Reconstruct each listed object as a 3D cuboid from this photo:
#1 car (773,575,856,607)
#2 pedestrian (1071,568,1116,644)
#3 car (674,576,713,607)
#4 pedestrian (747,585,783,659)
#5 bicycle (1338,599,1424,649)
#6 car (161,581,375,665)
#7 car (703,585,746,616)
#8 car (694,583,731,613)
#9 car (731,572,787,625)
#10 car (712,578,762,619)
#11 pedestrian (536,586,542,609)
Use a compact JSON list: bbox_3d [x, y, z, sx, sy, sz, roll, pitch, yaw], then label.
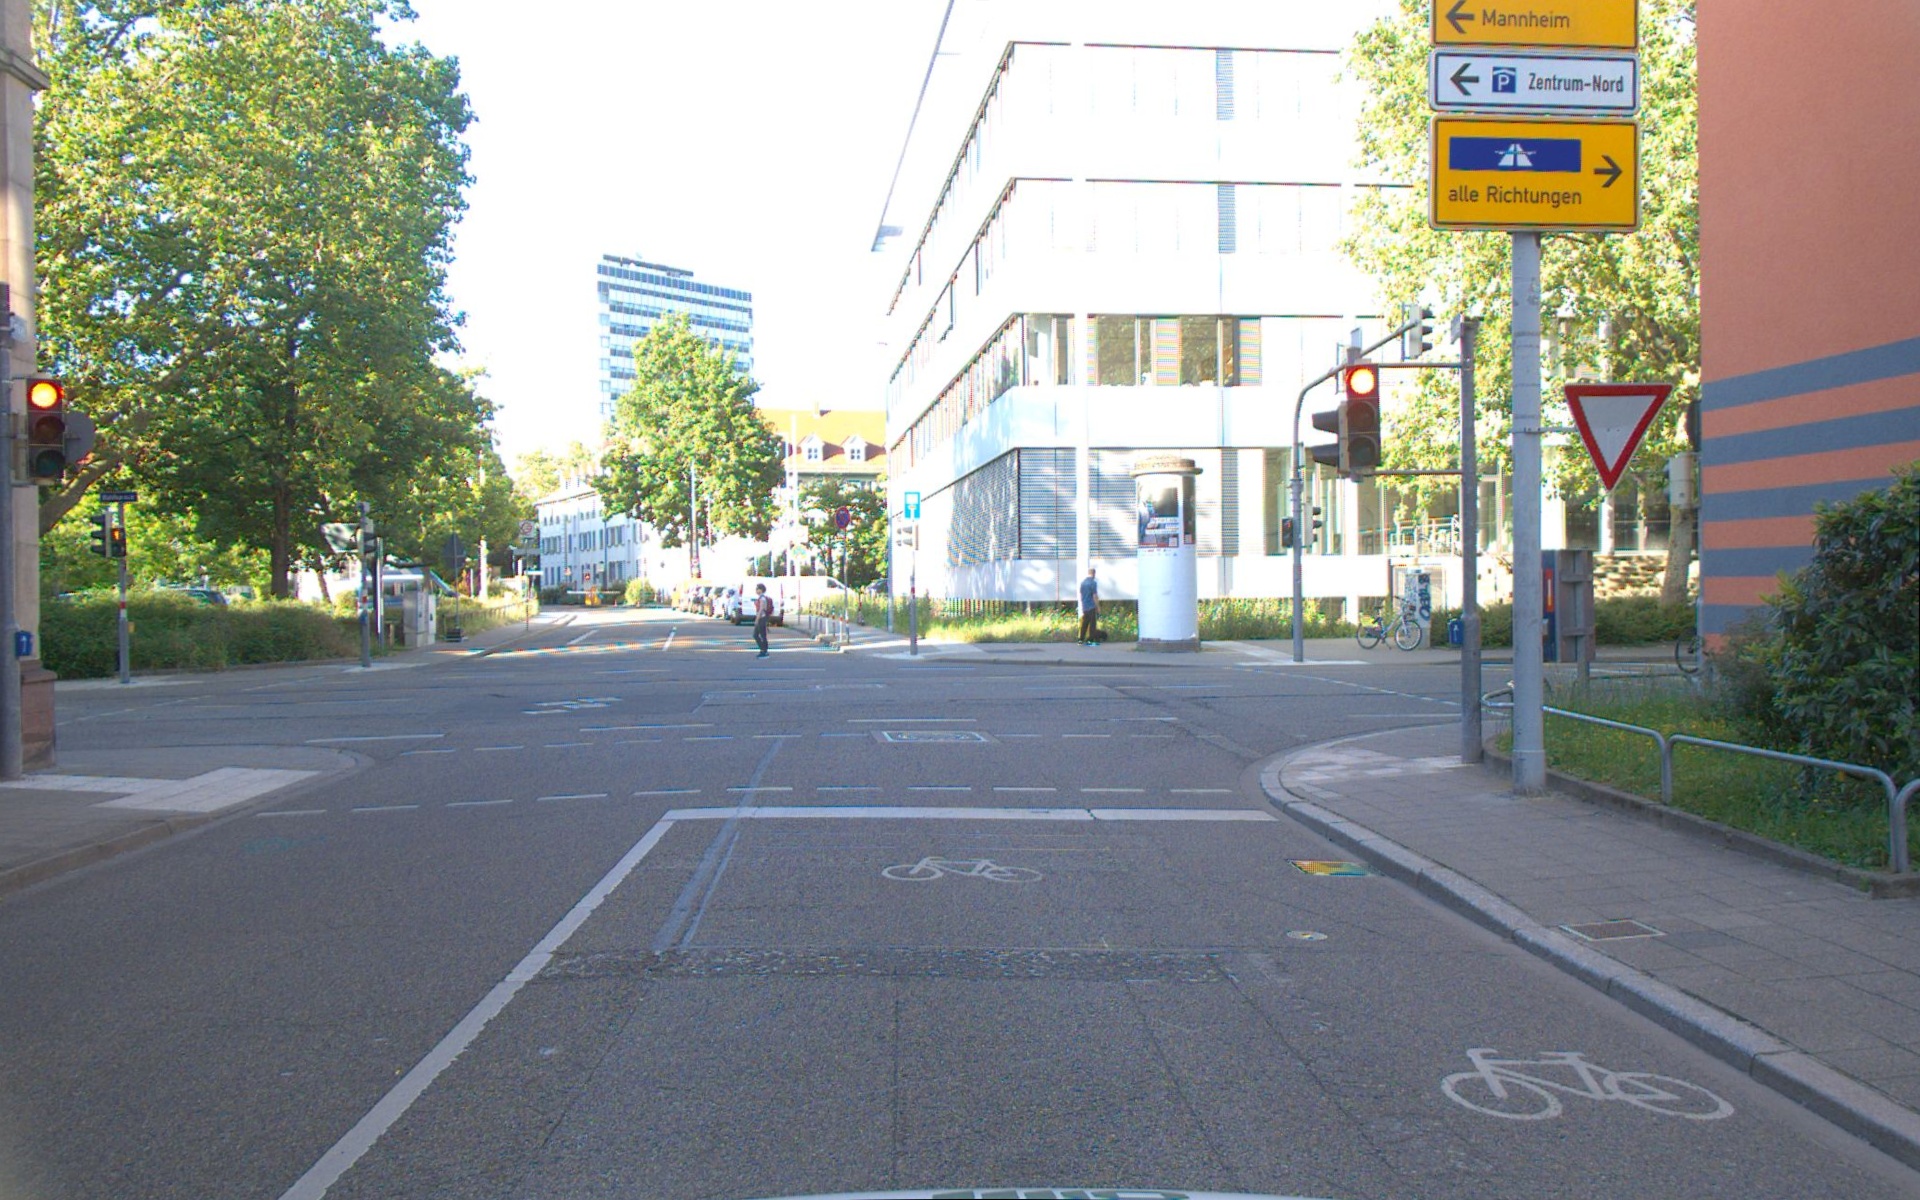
[{"bbox_3d":[-9.037,-0.560,102.716,4.804,1.905,1.990,1,-1,-17],"label":"car"},{"bbox_3d":[3.142,0.143,38.921,0.798,1.766,0.650,-1,0,45],"label":"pedestrian"},{"bbox_3d":[-15.390,-0.492,95.420,2.063,1.687,4.463,-1,1,-11],"label":"car"},{"bbox_3d":[-4.343,0.478,36.866,0.697,1.627,0.617,-1,0,-1],"label":"pedestrian"},{"bbox_3d":[9.216,0.514,36.243,0.460,1.067,1.886,-1,1,-42],"label":"bicycle"},{"bbox_3d":[-15.771,0.507,37.899,4.146,1.808,1.901,-1,0,-9],"label":"car"},{"bbox_3d":[-11.549,-0.001,81.056,1.675,1.449,4.223,-1,1,-14],"label":"car"},{"bbox_3d":[-12.858,-0.093,85.636,1.674,1.490,4.226,-1,1,-11],"label":"car"},{"bbox_3d":[-7.870,-0.080,64.516,2.029,1.997,4.229,-1,1,-9],"label":"car"},{"bbox_3d":[-10.301,-0.089,76.133,1.913,1.826,4.224,-1,1,-13],"label":"car"},{"bbox_3d":[-28.161,-0.165,110.725,0.373,1.561,0.444,-1,0,-13],"label":"pedestrian"}]
